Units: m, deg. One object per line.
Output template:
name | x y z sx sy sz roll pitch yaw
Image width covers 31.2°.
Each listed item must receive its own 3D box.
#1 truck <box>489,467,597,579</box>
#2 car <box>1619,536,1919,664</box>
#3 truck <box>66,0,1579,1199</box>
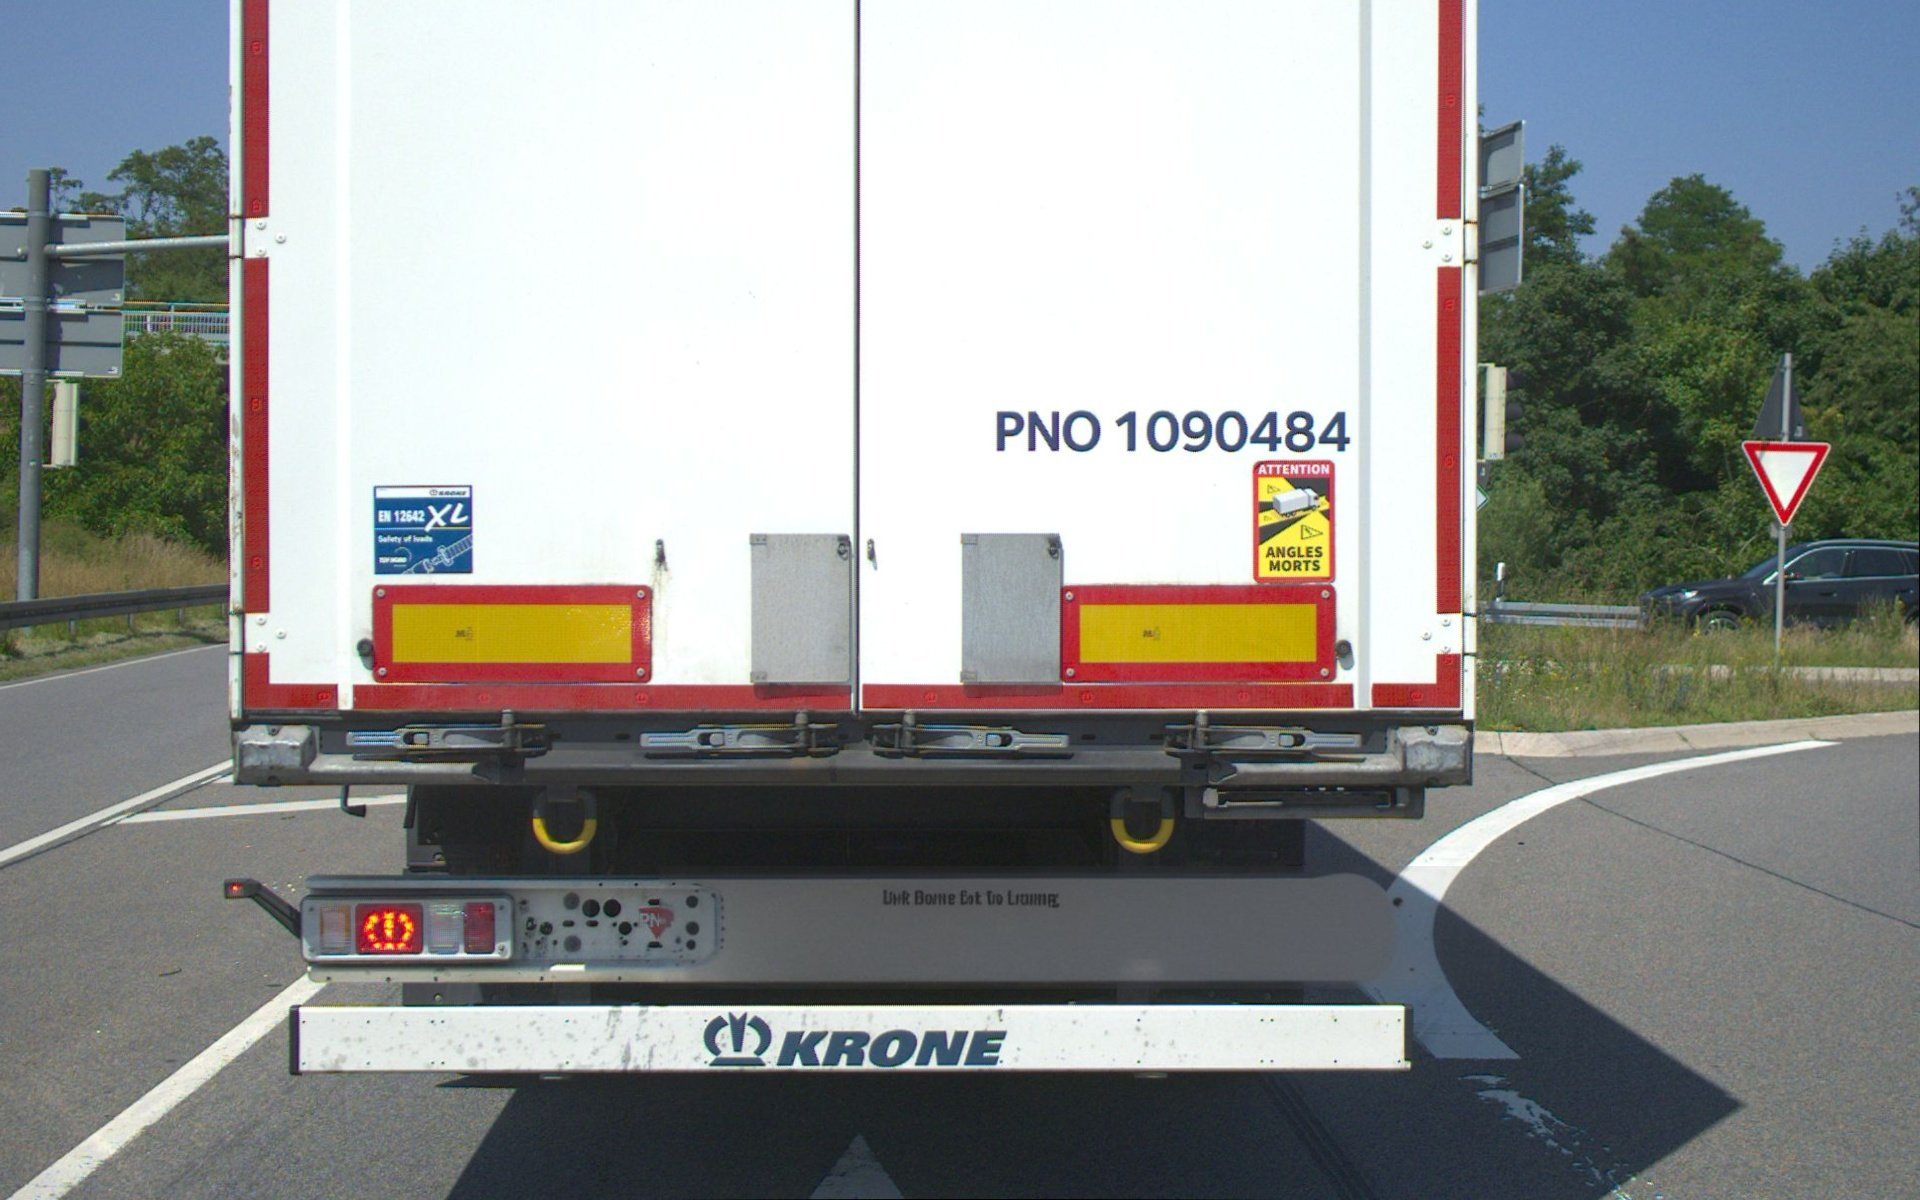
truck | -13.660 -2.466 113.041 2.644 3.526 7.890 1 0 -1
car | 10.936 -0.007 44.523 4.486 1.592 1.767 1 0 2
truck | -0.370 -0.656 11.769 2.987 3.928 9.876 1 1 -1
